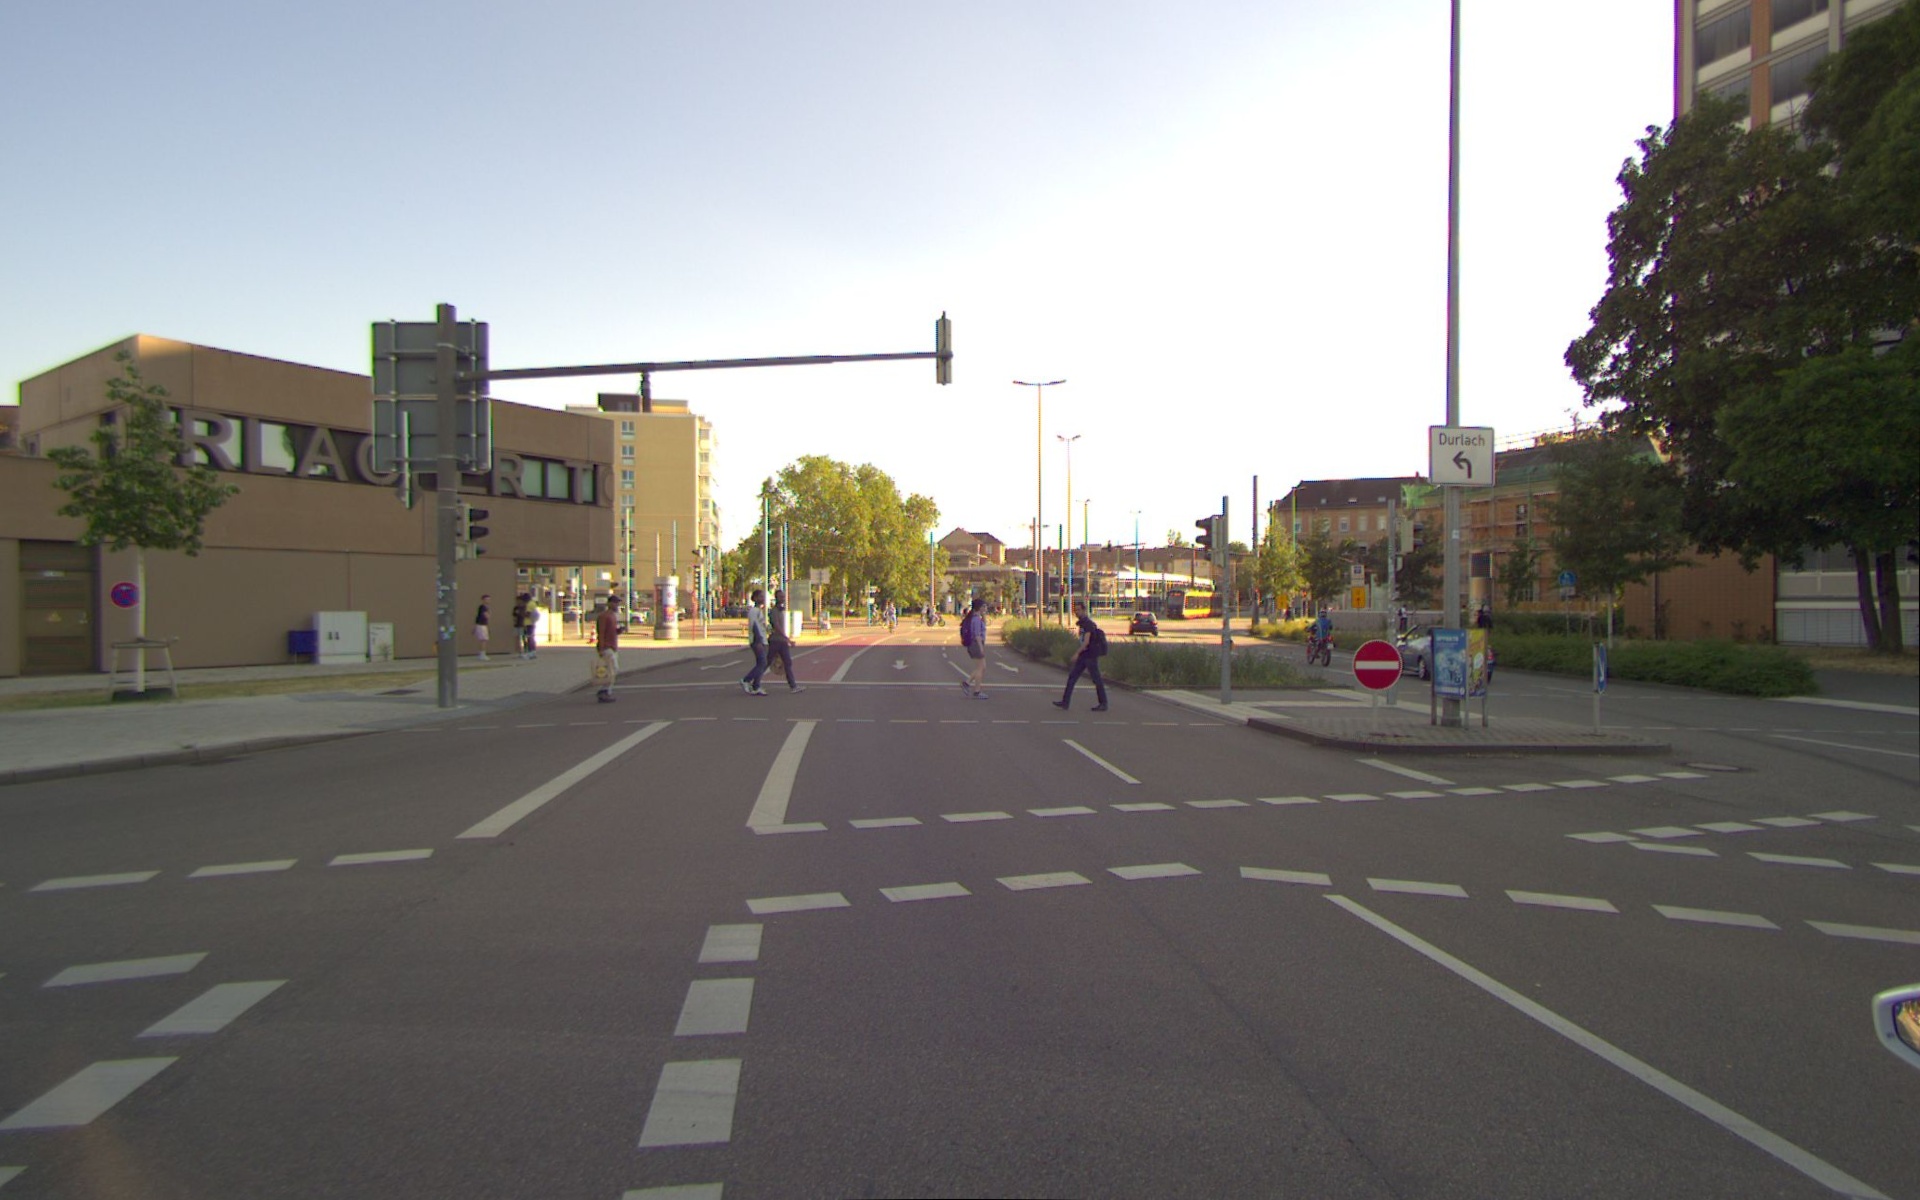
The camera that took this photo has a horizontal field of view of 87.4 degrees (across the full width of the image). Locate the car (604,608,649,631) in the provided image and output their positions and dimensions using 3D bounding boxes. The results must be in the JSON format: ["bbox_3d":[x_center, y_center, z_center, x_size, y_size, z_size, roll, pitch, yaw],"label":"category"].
[{"bbox_3d":[-30.469,1.787,91.763,3.680,2.041,1.995,0,2,-12],"label":"car"}]

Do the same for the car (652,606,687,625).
[{"bbox_3d":[-30.469,1.614,105.212,3.945,1.882,1.841,2,2,44],"label":"car"}]

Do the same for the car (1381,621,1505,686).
[{"bbox_3d":[12.540,1.335,26.339,1.770,1.463,3.980,2,0,8],"label":"car"}]

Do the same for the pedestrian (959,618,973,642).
[{"bbox_3d":[0.425,2.204,73.801,0.819,1.694,0.693,0,0,-31],"label":"pedestrian"}]

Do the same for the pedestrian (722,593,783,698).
[{"bbox_3d":[-3.529,0.761,17.157,0.910,1.764,0.757,0,0,-3],"label":"pedestrian"}]

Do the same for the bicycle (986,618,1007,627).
[{"bbox_3d":[4.213,2.607,116.805,2.264,0.972,0.858,-2,2,-14],"label":"bicycle"}]

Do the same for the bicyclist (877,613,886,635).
[{"bbox_3d":[-6.534,1.997,83.672,0.639,1.714,0.859,1,2,-3],"label":"bicyclist"}]

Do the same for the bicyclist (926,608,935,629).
[{"bbox_3d":[-2.409,1.502,82.027,0.640,1.714,0.858,0,2,-11],"label":"bicyclist"}]

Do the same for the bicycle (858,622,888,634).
[{"bbox_3d":[-7.151,2.275,82.315,2.454,0.886,0.859,1,2,-5],"label":"bicycle"}]

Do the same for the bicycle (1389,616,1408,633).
[{"bbox_3d":[27.390,1.529,62.758,0.776,1.052,1.964,-2,-1,16],"label":"bicycle"}]

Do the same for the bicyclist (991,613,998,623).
[{"bbox_3d":[4.013,2.111,116.719,0.702,1.158,0.835,0,2,-13],"label":"bicyclist"}]

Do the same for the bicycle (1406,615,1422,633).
[{"bbox_3d":[28.372,1.489,62.725,0.618,1.052,1.957,-2,-2,33],"label":"bicycle"}]

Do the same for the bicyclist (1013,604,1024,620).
[{"bbox_3d":[7.029,1.405,119.913,1.054,1.926,1.120,0,2,-10],"label":"bicyclist"}]

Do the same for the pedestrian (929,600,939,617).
[{"bbox_3d":[-2.963,0.974,115.553,0.972,1.841,0.920,1,2,6],"label":"pedestrian"}]

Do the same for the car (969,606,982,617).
[{"bbox_3d":[2.610,1.852,165.313,1.960,1.555,4.000,1,2,2],"label":"car"}]

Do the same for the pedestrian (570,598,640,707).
[{"bbox_3d":[-5.911,0.857,16.777,0.910,1.764,0.787,0,0,-3],"label":"pedestrian"}]

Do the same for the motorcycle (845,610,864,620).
[{"bbox_3d":[-12.248,1.715,116.672,2.248,1.068,0.687,1,2,-5],"label":"motorcycle"}]

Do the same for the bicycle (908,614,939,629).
[{"bbox_3d":[-3.034,1.777,83.823,2.456,1.148,0.858,1,2,-10],"label":"bicycle"}]

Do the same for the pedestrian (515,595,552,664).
[{"bbox_3d":[-11.911,0.814,28.067,0.704,1.860,0.639,1,2,8],"label":"pedestrian"}]

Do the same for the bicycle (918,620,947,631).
[{"bbox_3d":[-2.224,2.086,82.073,2.263,0.918,0.858,1,2,-12],"label":"bicycle"}]

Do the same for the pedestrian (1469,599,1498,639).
[{"bbox_3d":[22.357,0.797,42.926,0.792,1.681,0.790,-1,0,-2],"label":"pedestrian"}]

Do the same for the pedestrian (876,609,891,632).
[{"bbox_3d":[-5.730,1.541,74.931,1.075,1.628,0.698,1,2,-2],"label":"pedestrian"}]

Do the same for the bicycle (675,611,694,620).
[{"bbox_3d":[-30.988,1.744,113.189,2.012,1.105,0.775,0,0,-11],"label":"bicycle"}]

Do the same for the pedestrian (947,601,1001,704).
[{"bbox_3d":[0.232,0.898,17.660,0.910,1.764,0.757,0,0,-3],"label":"pedestrian"}]

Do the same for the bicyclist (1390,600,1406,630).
[{"bbox_3d":[27.357,0.923,62.720,0.773,1.810,0.894,-2,-1,16],"label":"bicyclist"}]

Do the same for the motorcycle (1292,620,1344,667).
[{"bbox_3d":[11.333,1.357,31.883,1.077,1.395,2.655,1,-1,9],"label":"motorcycle"}]

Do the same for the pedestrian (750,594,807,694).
[{"bbox_3d":[-3.259,0.772,18.107,0.910,1.764,0.757,0,0,-3],"label":"pedestrian"}]

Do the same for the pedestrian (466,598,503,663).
[{"bbox_3d":[-13.270,0.828,28.038,0.723,1.754,0.663,2,2,33],"label":"pedestrian"}]

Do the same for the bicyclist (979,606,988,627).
[{"bbox_3d":[1.914,1.347,82.833,0.639,1.714,0.859,1,2,-7],"label":"bicyclist"}]

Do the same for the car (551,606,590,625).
[{"bbox_3d":[-40.049,1.550,103.239,3.948,1.742,2.077,2,2,39],"label":"car"}]

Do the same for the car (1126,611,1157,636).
[{"bbox_3d":[11.344,1.440,62.928,1.770,1.463,3.980,2,0,8],"label":"car"}]

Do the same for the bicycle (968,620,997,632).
[{"bbox_3d":[1.860,2.111,82.846,2.261,0.918,0.859,1,2,-7],"label":"bicycle"}]

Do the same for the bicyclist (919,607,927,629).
[{"bbox_3d":[-3.036,1.453,81.912,0.574,1.801,0.865,0,0,-11],"label":"bicyclist"}]

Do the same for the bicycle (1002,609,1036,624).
[{"bbox_3d":[7.030,1.944,119.918,3.928,1.713,1.137,1,2,-10],"label":"bicycle"}]

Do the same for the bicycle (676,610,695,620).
[{"bbox_3d":[-31.194,1.720,114.011,2.012,1.105,0.775,0,0,-11],"label":"bicycle"}]

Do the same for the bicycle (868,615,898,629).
[{"bbox_3d":[-6.434,1.835,83.682,2.453,1.148,0.859,1,2,-4],"label":"bicycle"}]

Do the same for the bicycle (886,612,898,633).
[{"bbox_3d":[-4.200,1.362,62.074,0.728,1.272,2.555,0,-1,-4],"label":"bicycle"}]

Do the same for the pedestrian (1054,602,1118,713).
[{"bbox_3d":[1.970,0.883,15.780,0.882,1.707,0.747,0,0,-3],"label":"pedestrian"}]

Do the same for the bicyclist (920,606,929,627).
[{"bbox_3d":[-2.995,1.363,83.815,0.639,1.714,0.858,0,2,-10],"label":"bicyclist"}]

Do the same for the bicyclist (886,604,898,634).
[{"bbox_3d":[-4.187,1.163,61.989,0.728,1.856,1.013,0,-1,-5],"label":"bicyclist"}]

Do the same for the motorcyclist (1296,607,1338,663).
[{"bbox_3d":[11.345,1.102,31.908,1.077,1.744,0.937,1,0,9],"label":"motorcyclist"}]

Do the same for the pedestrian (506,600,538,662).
[{"bbox_3d":[-12.533,0.876,28.731,0.627,1.712,0.550,1,2,21],"label":"pedestrian"}]

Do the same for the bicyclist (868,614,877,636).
[{"bbox_3d":[-7.160,2.048,82.303,0.733,1.714,0.859,1,2,-5],"label":"bicyclist"}]

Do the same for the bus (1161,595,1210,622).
[{"bbox_3d":[26.596,0.901,118.043,2.322,2.922,9.548,2,2,34],"label":"bus"}]
